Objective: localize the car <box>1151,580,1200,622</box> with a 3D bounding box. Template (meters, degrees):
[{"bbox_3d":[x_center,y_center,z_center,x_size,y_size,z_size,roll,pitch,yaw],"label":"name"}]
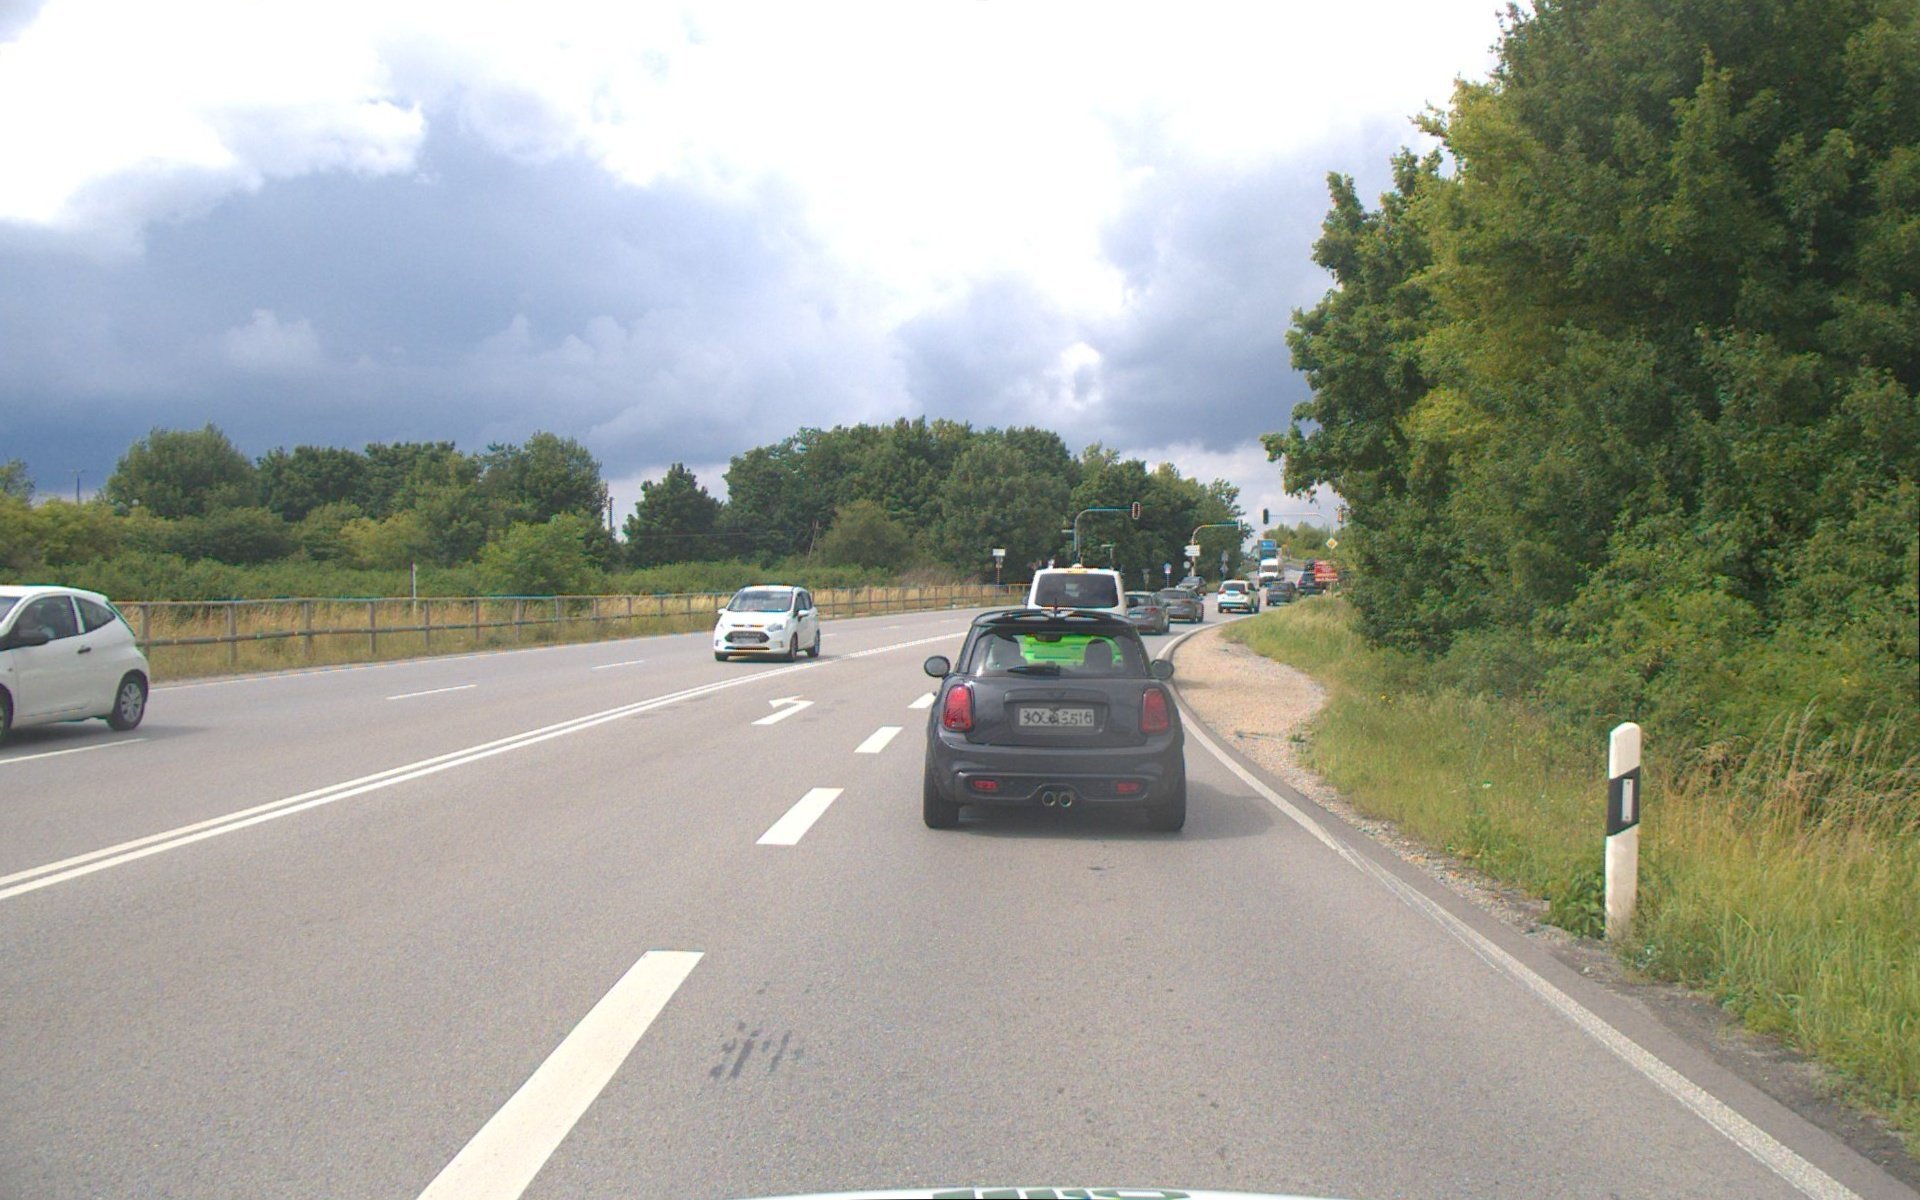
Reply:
[{"bbox_3d":[9.208,0.053,70.670,1.951,1.713,3.980,2,0,8],"label":"car"}]

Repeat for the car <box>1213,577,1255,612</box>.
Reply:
[{"bbox_3d":[14.417,-0.287,86.814,1.951,1.713,4.003,2,0,12],"label":"car"}]

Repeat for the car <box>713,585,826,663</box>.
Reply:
[{"bbox_3d":[-4.076,0.485,35.971,1.694,1.544,4.002,2,0,4],"label":"car"}]

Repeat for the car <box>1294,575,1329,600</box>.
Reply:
[{"bbox_3d":[25.075,-0.894,118.008,1.952,1.725,4.488,1,1,18],"label":"car"}]

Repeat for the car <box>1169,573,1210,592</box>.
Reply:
[{"bbox_3d":[17.900,-1.345,128.827,1.774,1.467,4.346,1,1,29],"label":"car"}]

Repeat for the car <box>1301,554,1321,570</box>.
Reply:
[{"bbox_3d":[47.283,-5.132,222.735,1.952,2.049,4.001,1,0,3],"label":"car"}]

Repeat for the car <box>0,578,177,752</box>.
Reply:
[{"bbox_3d":[-9.338,0.557,15.794,1.837,1.515,3.745,1,0,2],"label":"car"}]

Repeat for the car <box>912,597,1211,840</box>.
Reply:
[{"bbox_3d":[0.660,0.733,12.057,1.807,1.453,3.841,1,0,1],"label":"car"}]

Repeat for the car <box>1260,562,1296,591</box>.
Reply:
[{"bbox_3d":[31.634,-2.328,164.203,2.383,2.721,6.889,1,1,20],"label":"car"}]

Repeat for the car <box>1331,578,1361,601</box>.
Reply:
[{"bbox_3d":[31.507,-0.822,134.922,1.952,1.725,4.487,3,0,17],"label":"car"}]

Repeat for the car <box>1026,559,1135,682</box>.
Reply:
[{"bbox_3d":[2.117,0.340,29.722,1.806,2.022,3.842,1,0,3],"label":"car"}]

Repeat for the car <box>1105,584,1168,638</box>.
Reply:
[{"bbox_3d":[6.051,0.372,57.022,1.952,1.713,4.002,2,0,4],"label":"car"}]

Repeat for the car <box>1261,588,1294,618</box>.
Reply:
[{"bbox_3d":[19.512,0.211,101.539,1.951,1.713,4.003,2,0,12],"label":"car"}]
